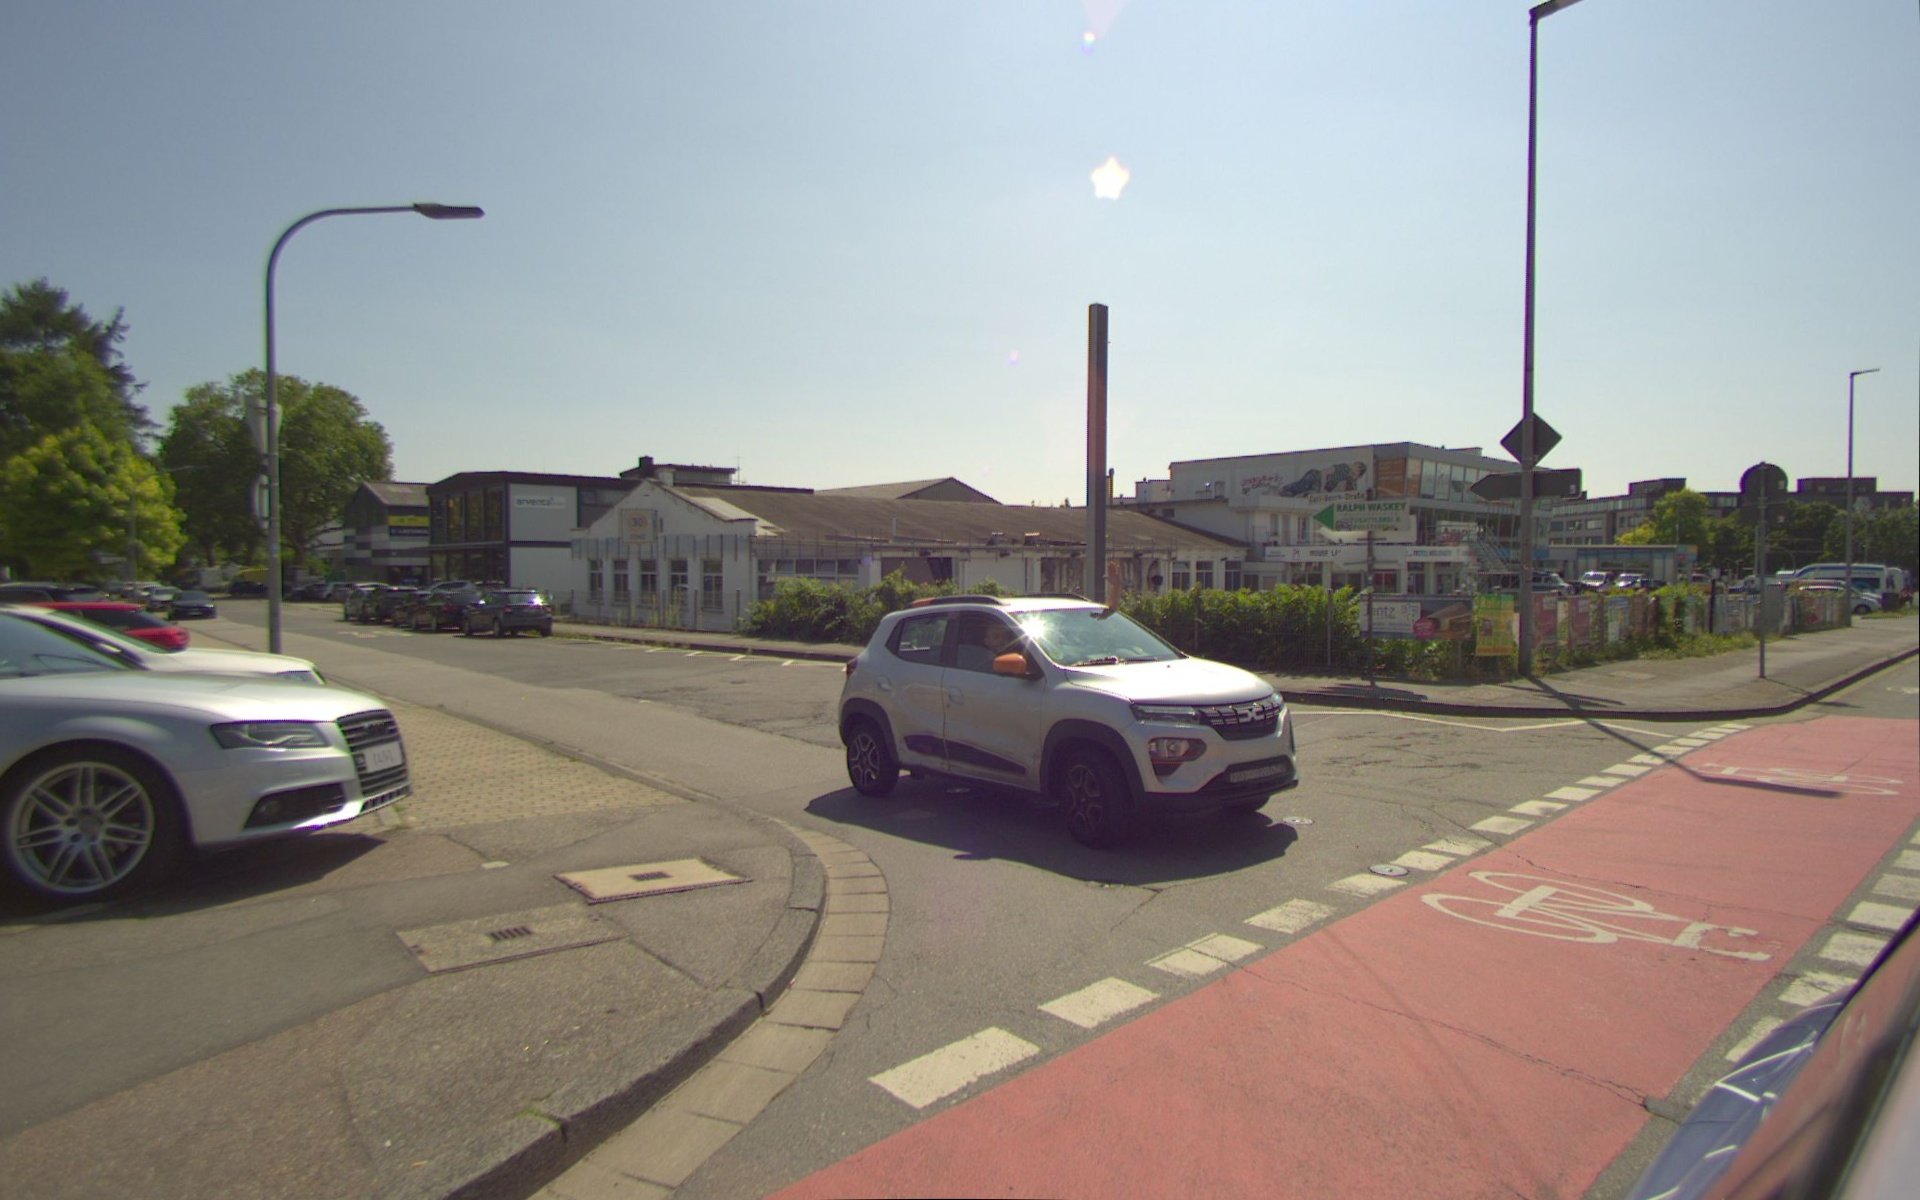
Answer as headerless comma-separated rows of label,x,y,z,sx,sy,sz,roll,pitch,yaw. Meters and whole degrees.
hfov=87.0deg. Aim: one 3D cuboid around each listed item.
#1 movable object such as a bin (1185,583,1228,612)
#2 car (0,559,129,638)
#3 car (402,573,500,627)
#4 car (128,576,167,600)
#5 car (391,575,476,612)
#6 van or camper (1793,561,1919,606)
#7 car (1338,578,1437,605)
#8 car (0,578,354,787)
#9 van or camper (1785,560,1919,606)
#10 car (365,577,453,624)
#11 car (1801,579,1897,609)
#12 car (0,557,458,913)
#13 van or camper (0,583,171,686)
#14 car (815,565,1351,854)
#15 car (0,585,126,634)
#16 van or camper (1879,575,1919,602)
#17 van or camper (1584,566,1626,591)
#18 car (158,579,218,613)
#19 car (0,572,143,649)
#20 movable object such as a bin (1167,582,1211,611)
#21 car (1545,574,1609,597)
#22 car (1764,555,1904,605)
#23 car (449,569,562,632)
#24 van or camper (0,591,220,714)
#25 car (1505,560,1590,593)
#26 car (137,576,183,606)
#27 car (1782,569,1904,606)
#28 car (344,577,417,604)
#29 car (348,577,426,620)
movable object such as a bin,13.183,-0.158,54.059,1.570,1.474,1.797,1,1,44
car,-25.375,-0.037,27.433,3.916,2.039,2.004,-2,0,-18
car,-18.060,-0.018,35.836,3.988,1.816,1.968,0,0,45
car,-57.609,-0.874,71.733,1.966,1.604,3.993,0,2,-42
car,-29.210,-0.378,56.210,3.927,1.927,1.762,0,2,-38
van or camper,58.534,-1.115,65.820,2.666,2.750,6.360,0,2,-41
car,22.939,-0.469,54.422,4.467,1.306,1.895,-2,0,0
car,-7.628,0.591,8.173,4.430,1.523,1.850,-1,2,-43
van or camper,56.337,-1.096,63.810,2.666,2.733,6.360,0,2,-41
car,-21.568,-0.016,39.540,3.989,1.682,1.968,3,2,45
car,50.699,-0.389,57.756,1.767,1.613,3.928,0,2,-42
car,-5.045,0.626,4.791,4.404,1.376,1.961,-2,-1,-12
van or camper,-17.104,0.596,18.155,4.140,1.560,2.007,-1,6,-15
car,0.636,0.603,7.256,1.696,1.503,3.672,0,-1,-39
car,-30.268,0.319,33.321,3.916,1.505,1.753,-2,0,-18
van or camper,74.954,-0.862,78.437,5.069,1.985,1.976,2,3,18
van or camper,54.550,-1.820,85.528,2.116,2.038,5.037,2,2,42
car,-38.486,-0.213,50.409,1.967,1.571,3.991,0,2,-43
car,-21.486,0.221,23.101,3.916,1.668,2.004,1,0,-12
movable object such as a bin,11.934,-0.188,52.755,1.570,1.474,1.728,1,1,44
car,50.112,-1.189,82.235,4.107,1.754,1.968,3,2,45
car,53.747,-1.299,62.340,2.280,2.905,6.239,0,2,-41
car,-14.458,-0.039,32.102,3.989,1.816,1.968,3,2,45
van or camper,-11.461,0.663,11.976,4.159,1.369,1.994,-1,-4,-44
car,45.581,-1.852,78.627,5.298,2.449,2.289,2,2,44
car,-48.854,-0.578,61.761,1.966,1.705,3.993,0,2,-42
car,52.367,-0.753,60.111,1.966,1.976,5.243,0,3,-42
car,-38.258,-0.619,66.850,3.930,1.670,1.761,0,2,-41
car,-24.837,-0.105,43.842,3.988,1.794,1.968,1,1,45
